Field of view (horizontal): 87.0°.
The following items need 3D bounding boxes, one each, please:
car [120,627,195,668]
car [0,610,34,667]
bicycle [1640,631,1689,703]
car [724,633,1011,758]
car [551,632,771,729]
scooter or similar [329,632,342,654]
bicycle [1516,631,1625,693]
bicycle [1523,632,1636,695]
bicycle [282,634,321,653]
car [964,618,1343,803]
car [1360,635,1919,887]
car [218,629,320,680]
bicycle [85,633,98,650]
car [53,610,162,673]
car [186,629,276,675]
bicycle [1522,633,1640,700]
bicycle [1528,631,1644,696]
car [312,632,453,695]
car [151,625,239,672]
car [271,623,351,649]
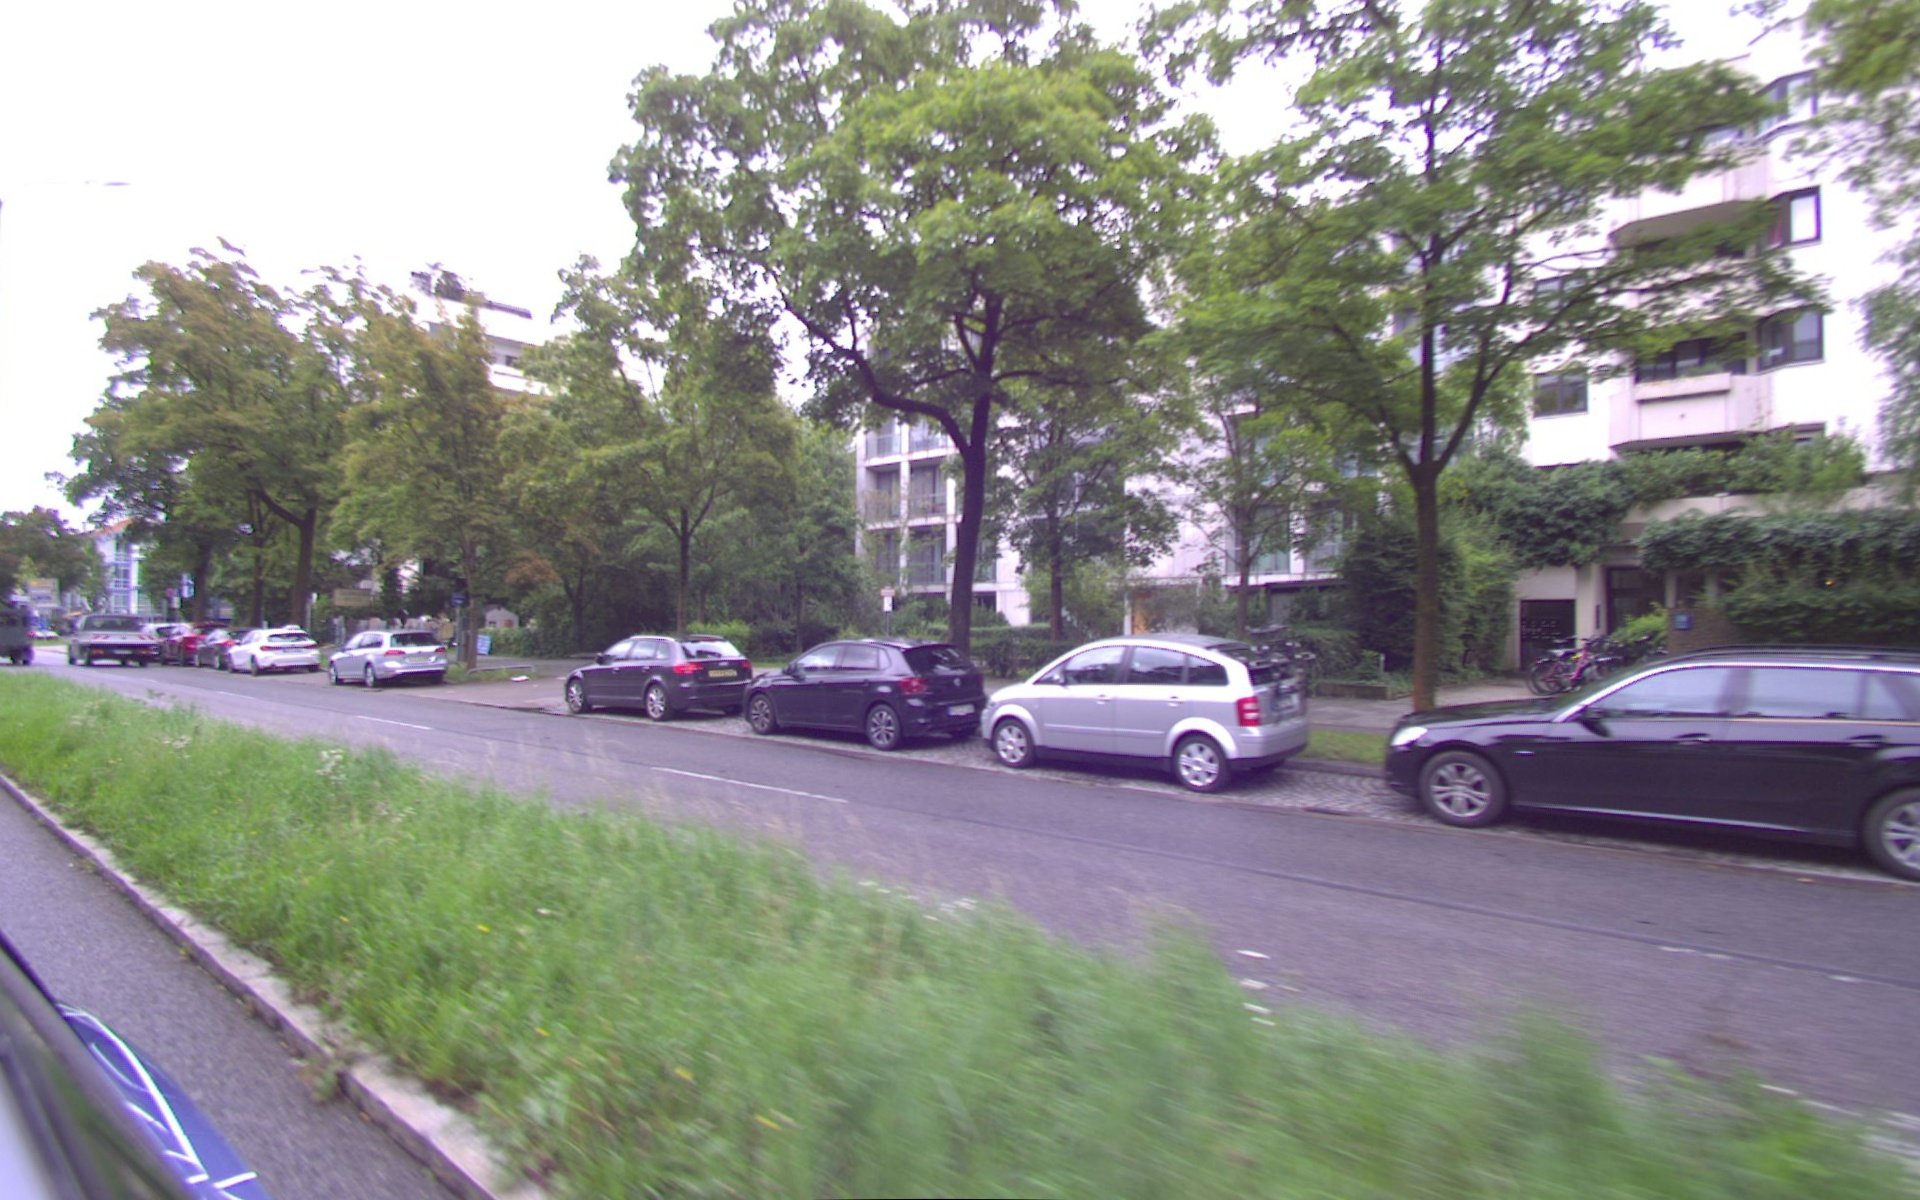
[{"bbox_3d":[-34.657,1.999,43.669,4.682,1.656,1.720,-2,-1,41],"label":"car"},{"bbox_3d":[-36.041,1.412,37.626,4.815,2.045,1.762,-1,-3,41],"label":"car"},{"bbox_3d":[12.721,1.183,18.310,0.530,1.236,1.842,-1,-2,29],"label":"bicycle"},{"bbox_3d":[-1.416,1.230,14.305,4.191,1.434,1.608,-2,0,42],"label":"car"},{"bbox_3d":[-5.341,1.314,17.786,4.360,1.434,1.564,-2,0,41],"label":"car"},{"bbox_3d":[-32.582,2.239,52.791,0.429,1.135,1.292,2,-3,-36],"label":"scooter or similar"},{"bbox_3d":[12.595,1.265,20.912,1.839,1.236,0.530,0,-2,8],"label":"bicycle"},{"bbox_3d":[12.417,1.262,20.317,1.839,1.236,0.530,0,-2,8],"label":"bicycle"},{"bbox_3d":[-36.656,2.413,56.334,0.436,1.014,1.744,-2,-3,40],"label":"bicycle"},{"bbox_3d":[2.032,1.079,11.310,3.866,1.660,1.608,-2,0,42],"label":"car"},{"bbox_3d":[5.947,1.078,7.800,5.031,1.536,1.698,-2,0,41],"label":"car"},{"bbox_3d":[-22.720,1.739,33.207,4.473,1.541,1.721,-2,-1,41],"label":"car"},{"bbox_3d":[-57.970,2.780,67.528,1.954,1.086,0.403,-2,1,43],"label":"bicycle"},{"bbox_3d":[-32.588,1.592,38.607,5.795,2.211,2.186,-1,-4,41],"label":"car"},{"bbox_3d":[-26.252,1.819,36.386,4.332,1.494,1.721,-2,-1,41],"label":"car"},{"bbox_3d":[11.747,1.247,19.182,1.837,1.236,0.531,0,-2,4],"label":"bicycle"},{"bbox_3d":[12.199,1.232,19.754,1.839,1.236,0.530,0,-2,8],"label":"bicycle"},{"bbox_3d":[-15.370,1.610,26.831,4.819,1.459,1.718,-1,0,41],"label":"car"},{"bbox_3d":[-30.091,1.866,39.752,4.602,1.664,1.722,-2,-1,39],"label":"car"},{"bbox_3d":[-41.336,2.295,64.472,1.748,1.601,3.944,-2,-3,42],"label":"car"}]
